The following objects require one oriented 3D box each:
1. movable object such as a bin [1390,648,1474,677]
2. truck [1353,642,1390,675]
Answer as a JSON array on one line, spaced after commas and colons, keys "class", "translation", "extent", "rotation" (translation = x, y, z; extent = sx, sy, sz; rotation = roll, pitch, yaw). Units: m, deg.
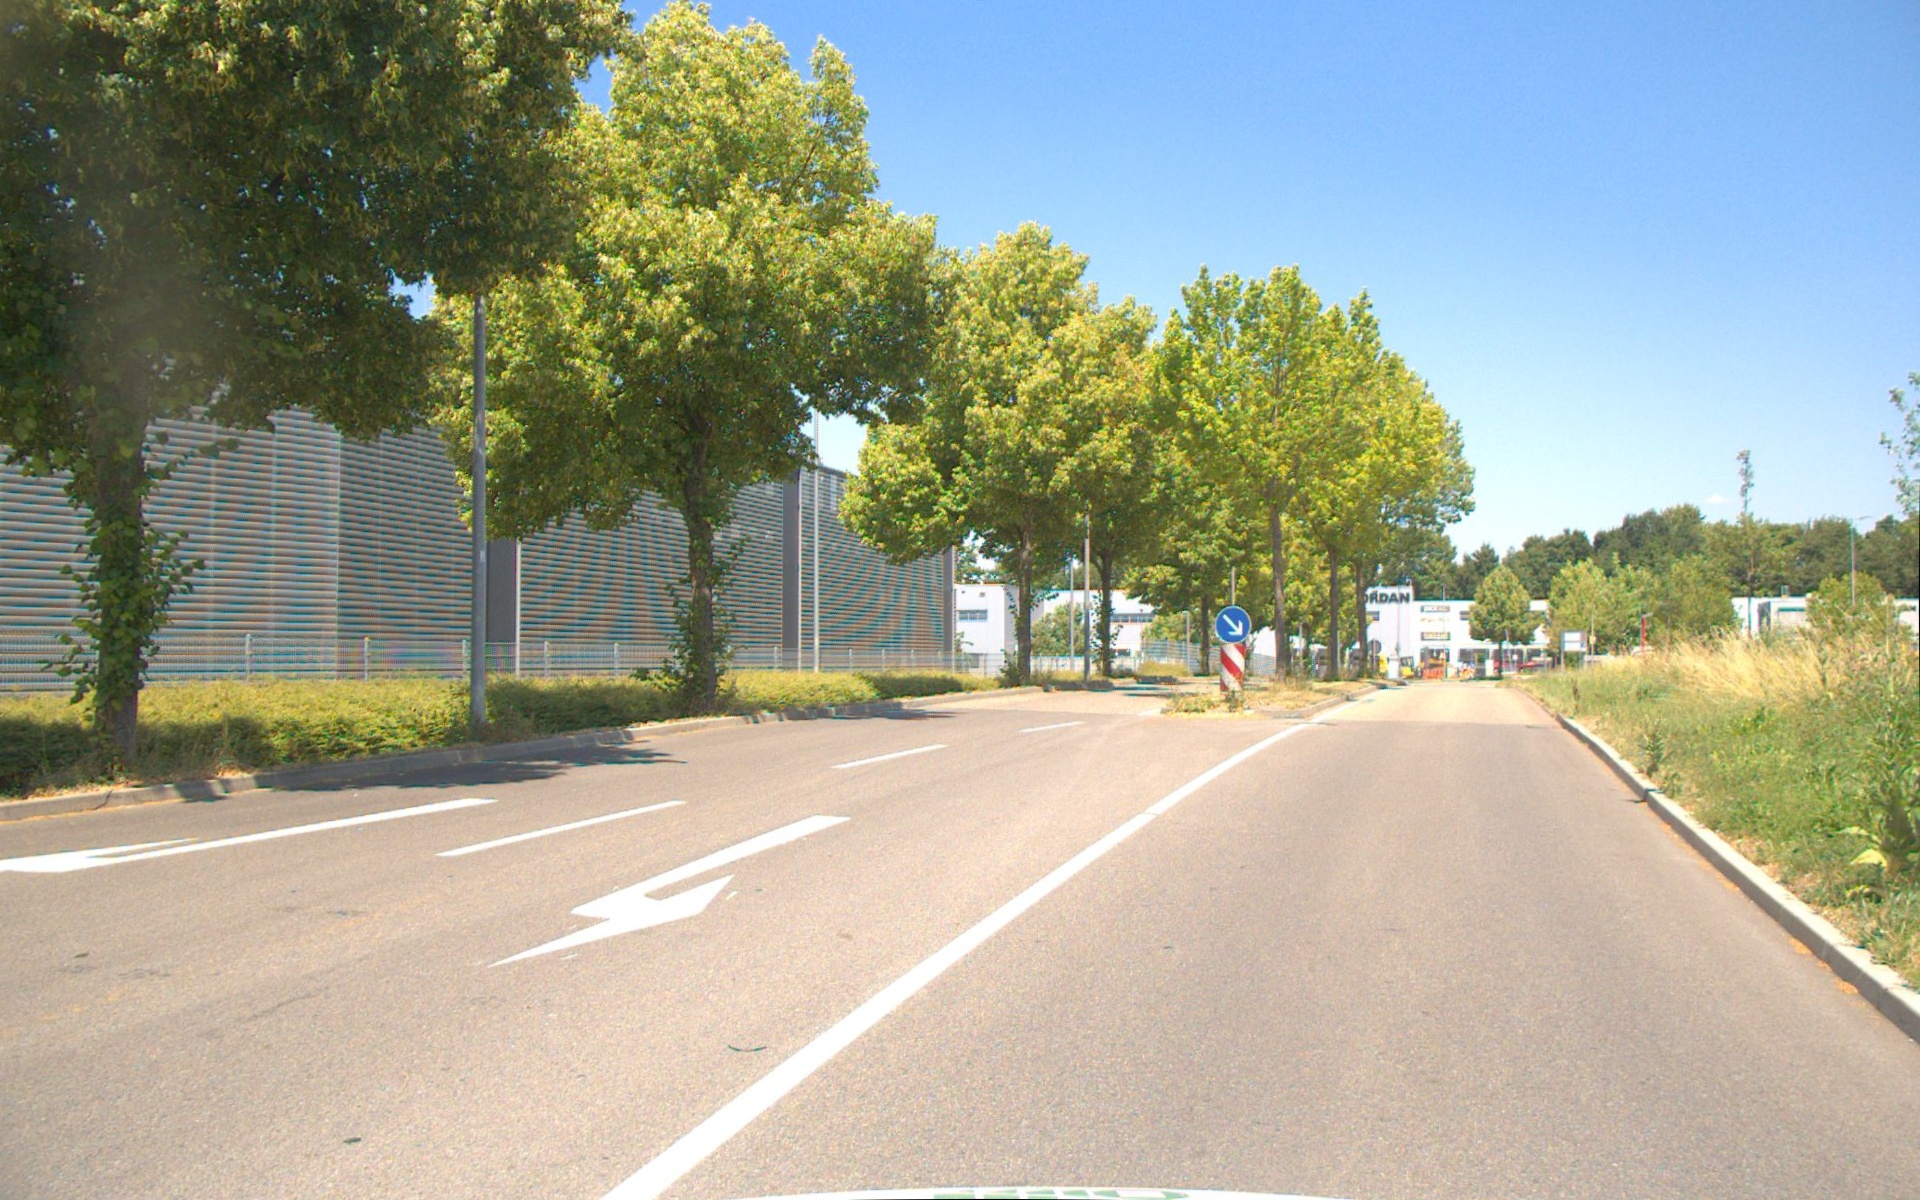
[{"class": "movable object such as a bin", "translation": [46.555, 6.182, 163.215], "extent": [7.377, 2.543, 3.663], "rotation": [-3, 0, 25]}, {"class": "truck", "translation": [40.938, 5.771, 164.625], "extent": [2.876, 2.936, 5.814], "rotation": [-3, 0, 9]}]
